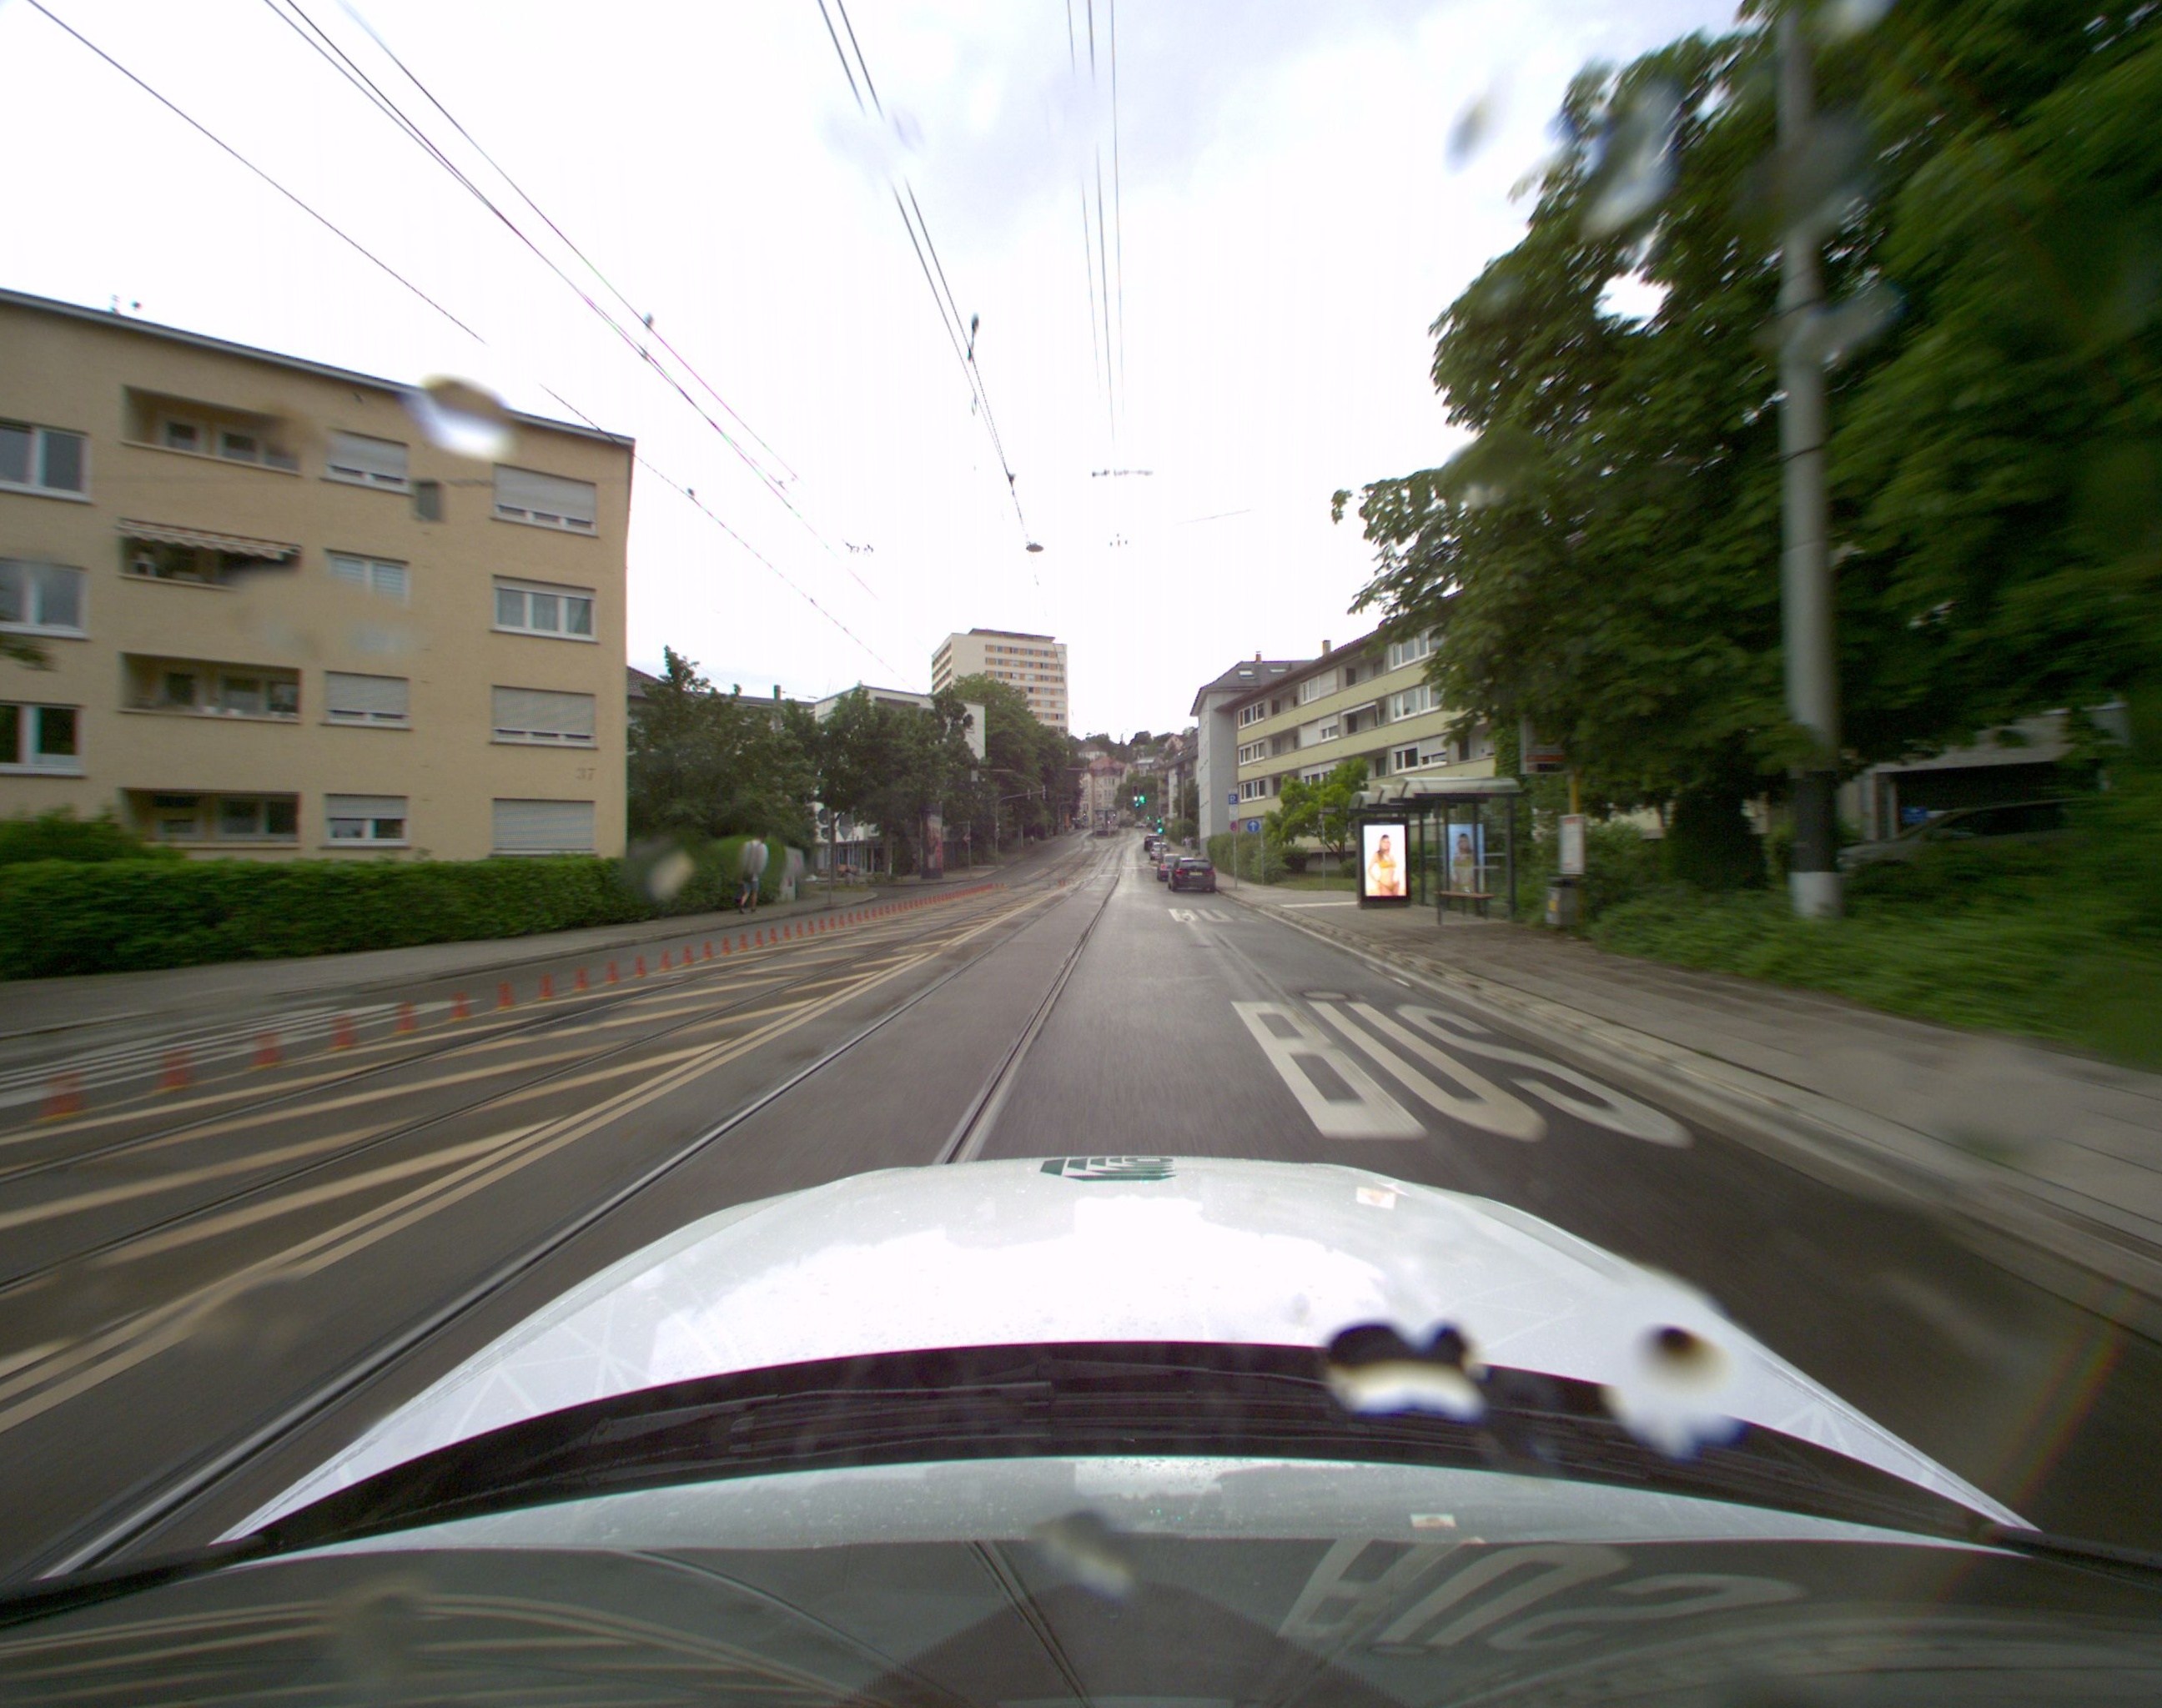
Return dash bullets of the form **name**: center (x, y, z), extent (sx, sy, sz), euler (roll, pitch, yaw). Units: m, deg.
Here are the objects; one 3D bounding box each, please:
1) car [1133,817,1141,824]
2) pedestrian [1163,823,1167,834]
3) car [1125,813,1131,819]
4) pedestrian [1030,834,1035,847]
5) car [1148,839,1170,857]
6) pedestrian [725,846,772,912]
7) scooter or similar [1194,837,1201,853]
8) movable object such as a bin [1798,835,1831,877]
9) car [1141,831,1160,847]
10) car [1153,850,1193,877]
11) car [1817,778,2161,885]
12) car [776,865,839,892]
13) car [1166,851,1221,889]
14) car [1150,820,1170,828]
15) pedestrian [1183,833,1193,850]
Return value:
- **car**: center (14.446, -8.719, 211.169), extent (1.898, 1.641, 4.694), euler (1, 3, 3)
- **pedestrian**: center (12.492, -3.859, 121.063), extent (0.641, 1.628, 0.700), euler (0, 1, 6)
- **car**: center (13.966, -11.231, 241.497), extent (1.898, 1.641, 4.694), euler (1, 3, 3)
- **pedestrian**: center (-5.879, -1.639, 99.055), extent (0.581, 1.600, 0.869), euler (1, 2, 0)
- **car**: center (6.767, -0.575, 71.304), extent (1.698, 1.433, 4.105), euler (1, 3, 3)
- **pedestrian**: center (-9.601, 0.706, 23.533), extent (0.916, 1.846, 1.016), euler (1, -1, -2)
- **scooter or similar**: center (10.284, -0.808, 71.675), extent (0.571, 1.249, 1.615), euler (0, 5, 9)
- **movable object such as a bin**: center (18.042, 0.053, 20.044), extent (0.526, 1.023, 0.593), euler (-1, -2, 36)
- **car**: center (7.426, -1.644, 87.438), extent (1.898, 1.641, 4.694), euler (1, 3, 3)
- **car**: center (5.197, 0.502, 46.483), extent (1.932, 1.464, 4.208), euler (0, 0, 1)
- **car**: center (15.221, -0.301, 13.575), extent (4.329, 1.558, 1.853), euler (-1, -1, 43)
- **car**: center (-15.830, 1.366, 47.007), extent (2.010, 1.481, 4.111), euler (1, -1, -41)
- **car**: center (4.715, 0.623, 34.702), extent (1.850, 1.487, 4.648), euler (0, 0, 2)
- **car**: center (15.802, -5.966, 163.569), extent (3.971, 1.645, 1.809), euler (0, 1, 2)
- **pedestrian**: center (10.289, -1.237, 78.481), extent (0.878, 1.582, 0.803), euler (-2, 4, 5)
